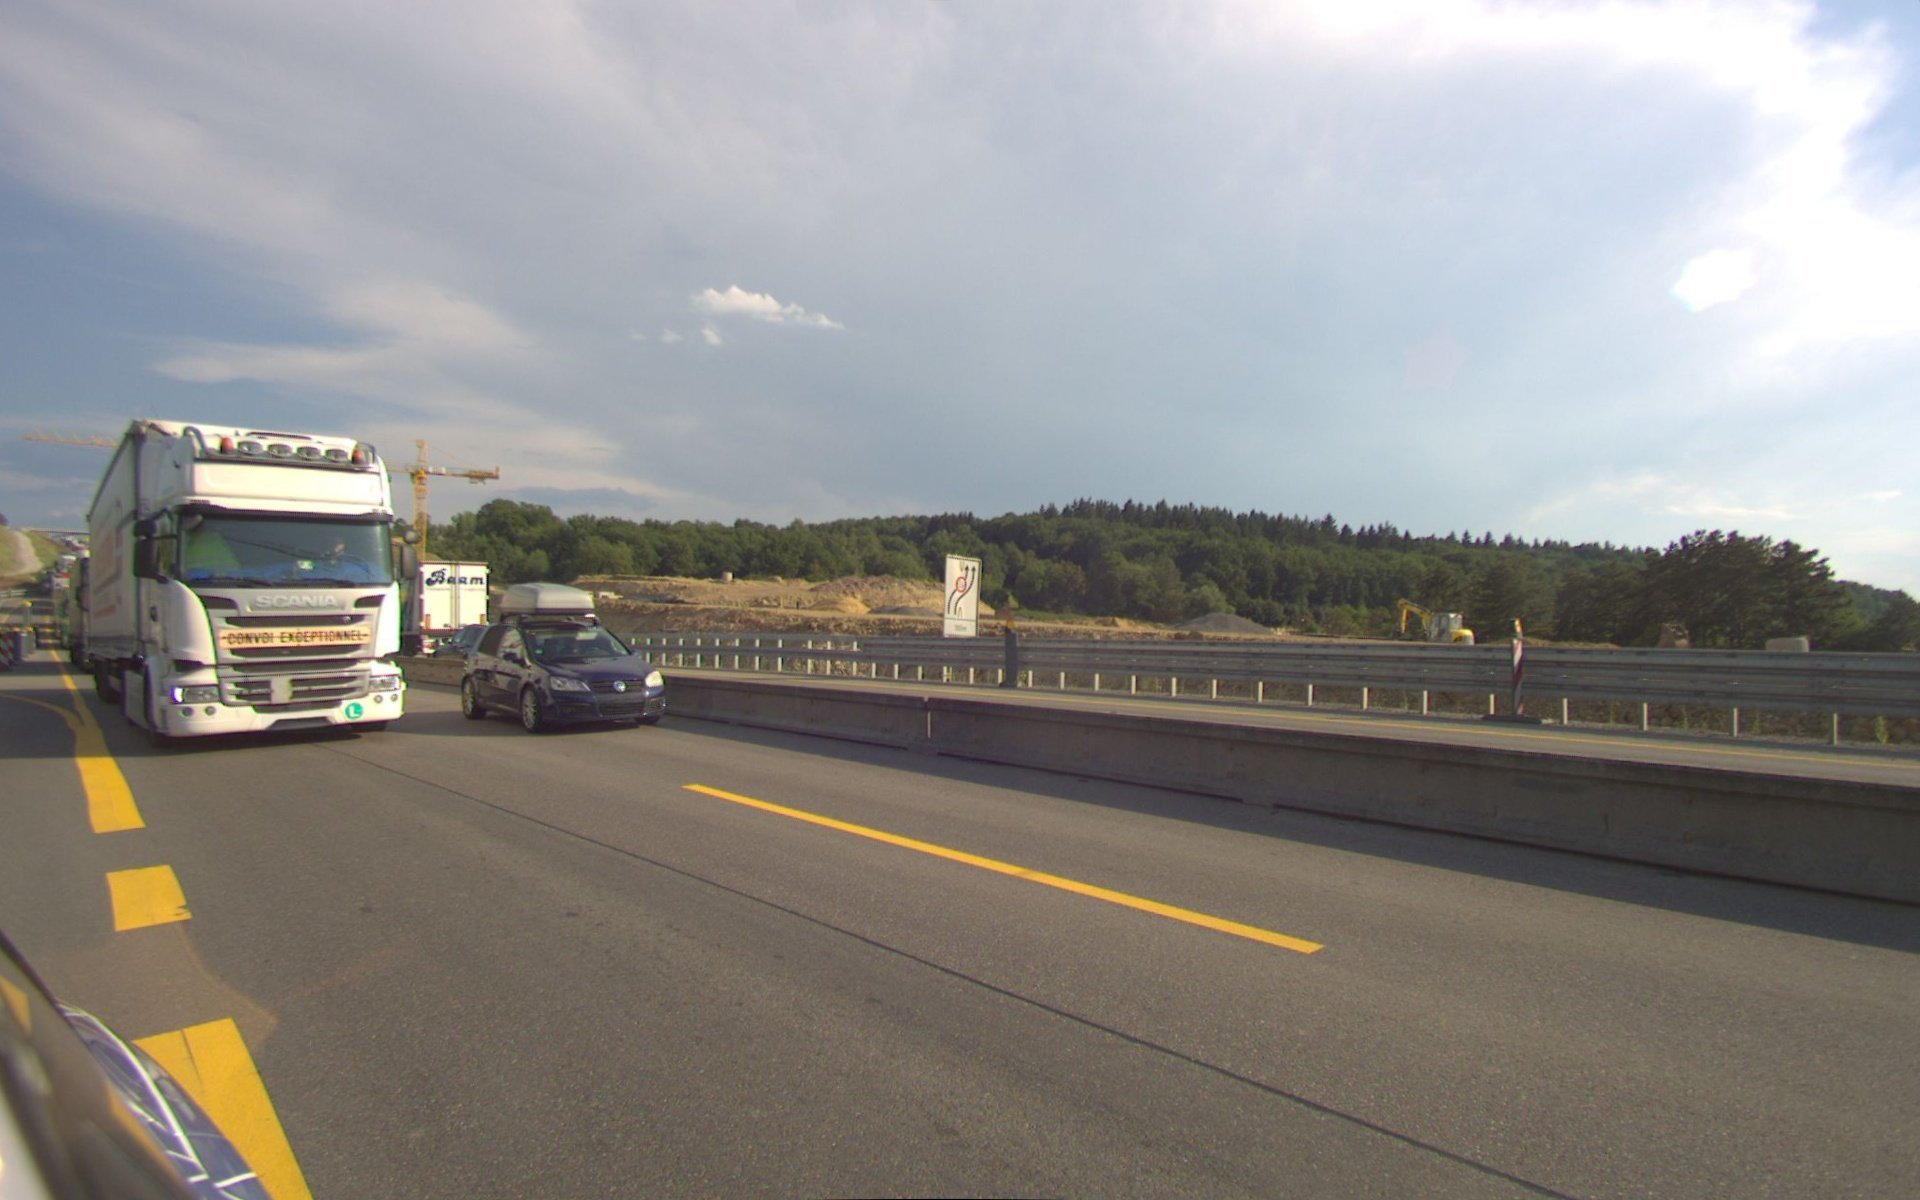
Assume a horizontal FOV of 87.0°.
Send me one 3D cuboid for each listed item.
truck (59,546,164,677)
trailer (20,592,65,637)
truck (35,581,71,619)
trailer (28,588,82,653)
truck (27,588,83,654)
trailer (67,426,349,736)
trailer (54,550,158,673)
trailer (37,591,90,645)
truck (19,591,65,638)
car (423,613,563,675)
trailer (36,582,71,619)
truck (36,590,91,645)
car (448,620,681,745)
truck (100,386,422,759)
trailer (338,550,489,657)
[{"bbox_3d":[-28.978,0.417,34.483,2.450,4.091,6.019,2,-2,-42],"label":"truck"},{"bbox_3d":[-95.242,1.568,105.242,3.065,4.347,14.271,4,-3,-41],"label":"trailer"},{"bbox_3d":[-111.142,0.062,124.095,3.065,4.347,6.906,4,-3,-41],"label":"truck"},{"bbox_3d":[-61.169,1.389,68.438,2.450,3.989,13.993,2,-2,-42],"label":"trailer"},{"bbox_3d":[-56.700,1.331,63.449,2.450,3.931,6.019,2,-2,-42],"label":"truck"},{"bbox_3d":[-14.339,-0.141,18.537,2.451,3.908,13.642,2,-2,-44],"label":"trailer"},{"bbox_3d":[-33.360,0.487,39.282,2.450,4.092,13.646,2,-2,-42],"label":"trailer"},{"bbox_3d":[-78.922,1.596,89.174,3.065,4.347,14.271,4,-3,-41],"label":"trailer"},{"bbox_3d":[-89.770,1.459,99.049,3.065,4.347,6.906,4,-3,-41],"label":"truck"},{"bbox_3d":[-12.232,1.120,26.375,1.969,1.476,4.541,4,-3,-42],"label":"car"},{"bbox_3d":[-116.822,0.177,130.501,3.065,4.347,14.271,4,-3,-41],"label":"trailer"},{"bbox_3d":[-73.705,1.474,83.254,3.065,4.347,6.906,4,-3,-41],"label":"truck"},{"bbox_3d":[-5.641,1.026,14.182,1.798,1.496,3.925,1,-2,-41],"label":"car"},{"bbox_3d":[-9.569,-0.233,13.585,6.015,3.908,2.452,-1,-2,45],"label":"truck"},{"bbox_3d":[-24.630,0.283,45.020,2.595,4.097,14.098,4,-3,-41],"label":"trailer"}]
